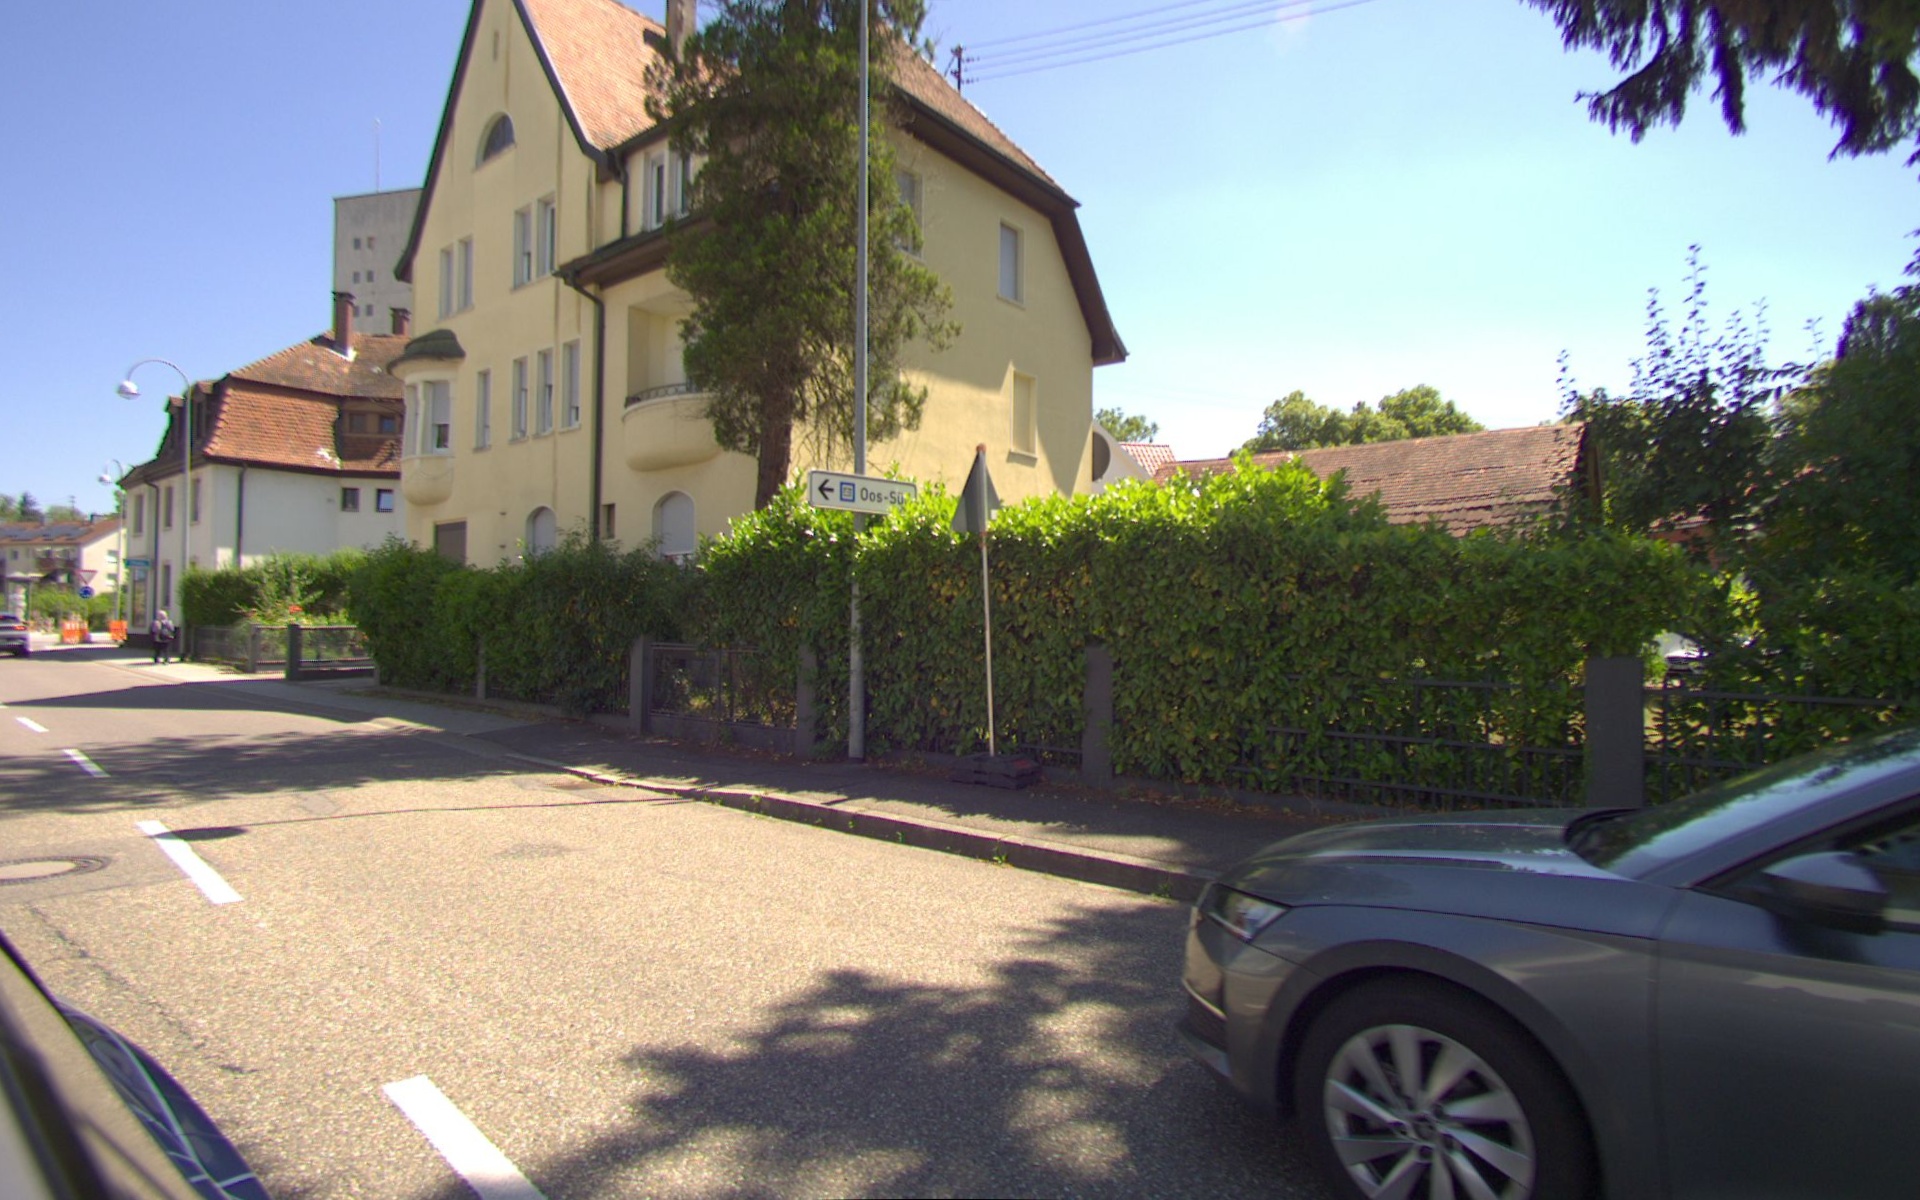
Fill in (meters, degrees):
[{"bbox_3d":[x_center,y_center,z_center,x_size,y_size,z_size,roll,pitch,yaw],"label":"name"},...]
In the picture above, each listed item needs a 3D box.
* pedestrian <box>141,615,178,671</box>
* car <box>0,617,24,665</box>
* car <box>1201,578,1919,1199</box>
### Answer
[{"bbox_3d":[-23.710,1.260,29.981,0.823,1.576,0.607,-1,3,40],"label":"pedestrian"},{"bbox_3d":[-34.168,1.405,35.324,4.296,1.629,1.833,-1,-1,42],"label":"car"},{"bbox_3d":[2.874,0.742,1.942,4.385,1.500,1.787,-1,-4,41],"label":"car"}]
